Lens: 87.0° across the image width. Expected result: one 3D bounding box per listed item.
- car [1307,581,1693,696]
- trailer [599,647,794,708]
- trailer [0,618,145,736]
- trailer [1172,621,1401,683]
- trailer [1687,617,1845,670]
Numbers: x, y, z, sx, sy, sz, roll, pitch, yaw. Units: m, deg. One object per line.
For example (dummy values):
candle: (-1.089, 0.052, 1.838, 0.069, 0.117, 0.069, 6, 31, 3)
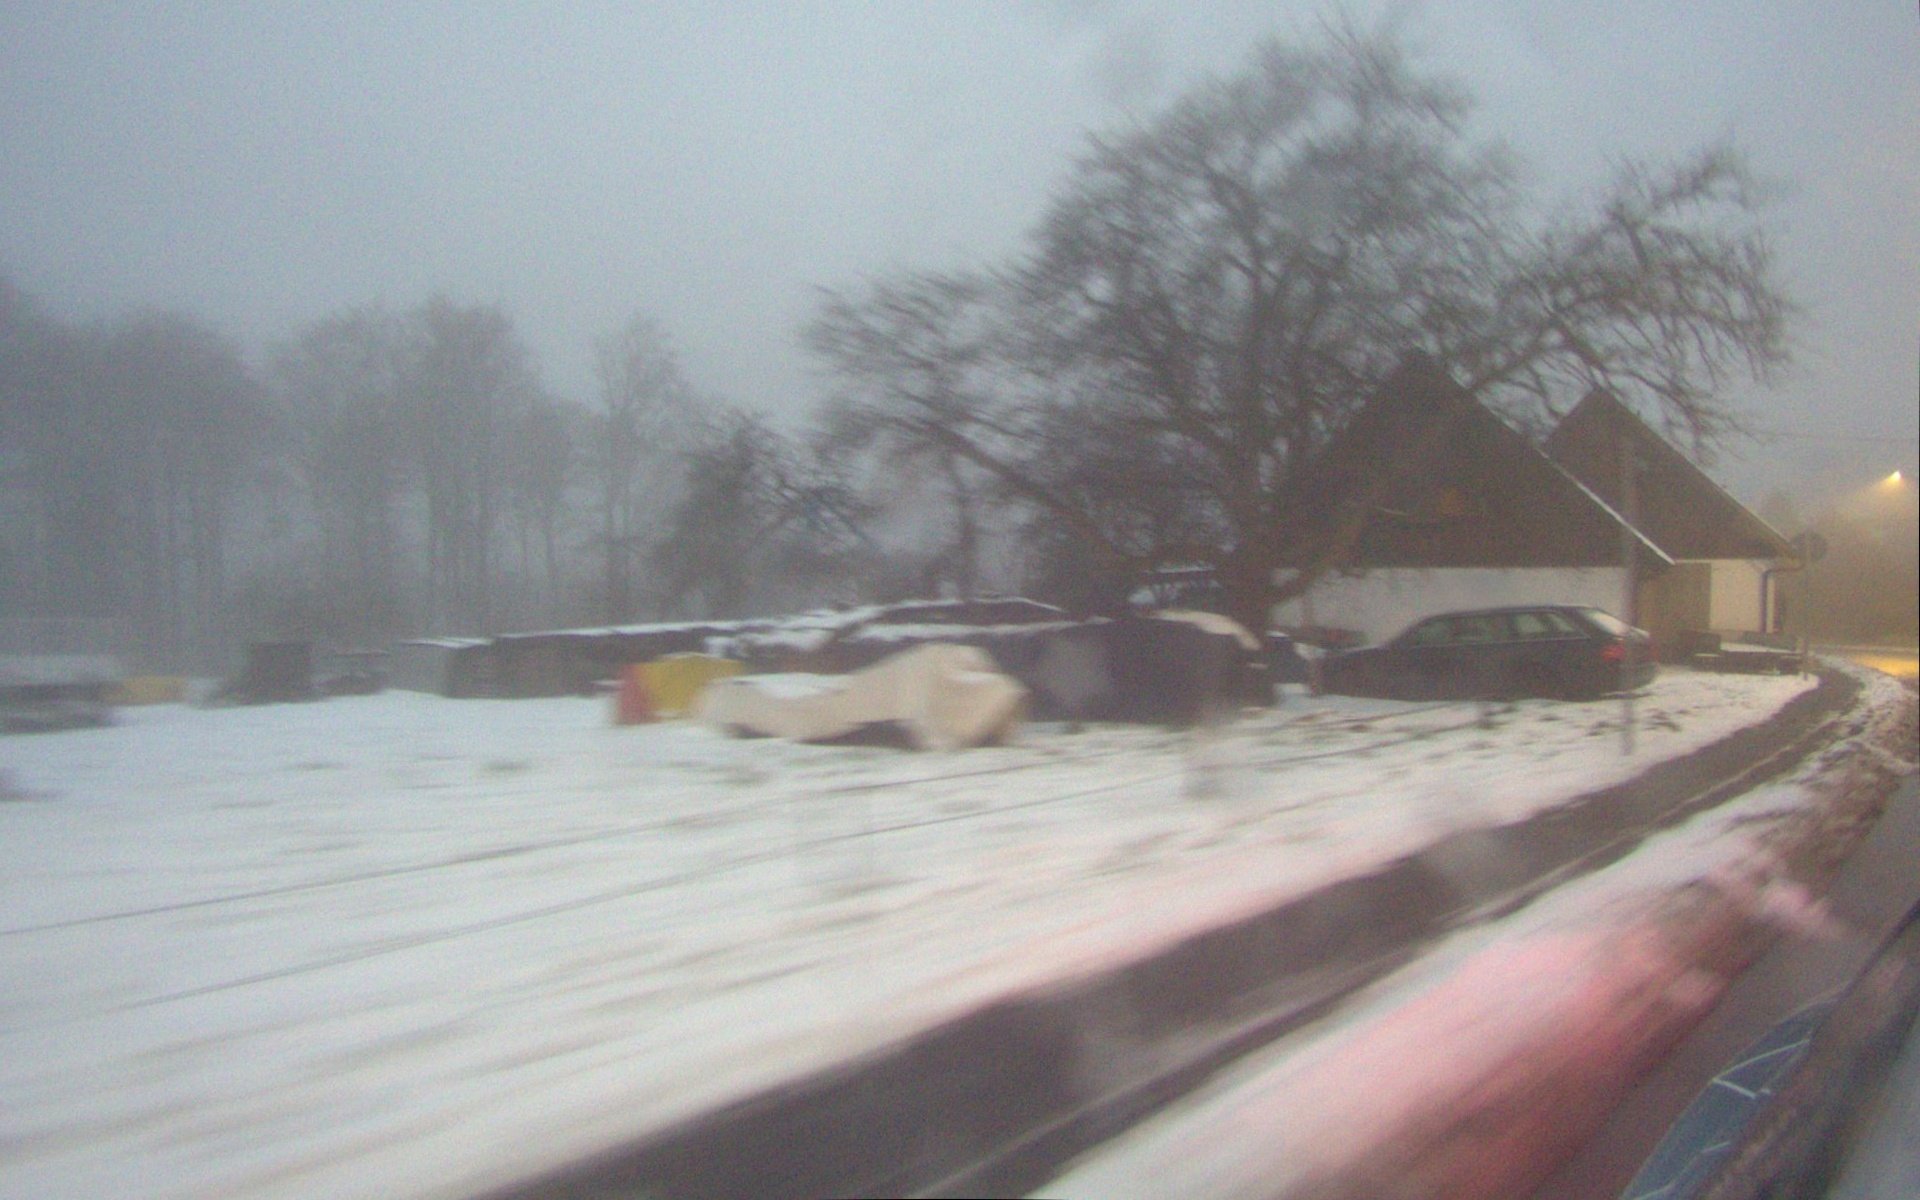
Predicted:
car: (7.604, 0.626, 14.643, 2.000, 1.400, 4.455, 0, -4, -40)
trailer: (-5.466, 1.570, 21.312, 1.840, 0.957, 3.610, 2, 1, 39)
trailer: (-17.219, 1.366, 19.219, 4.741, 1.967, 2.188, -2, -2, 45)
trailer: (6.568, 1.008, 20.540, 3.866, 1.105, 2.212, -2, -1, 42)
trailer: (18.393, 0.948, 23.312, 1.529, 0.957, 3.976, 2, 1, 18)
